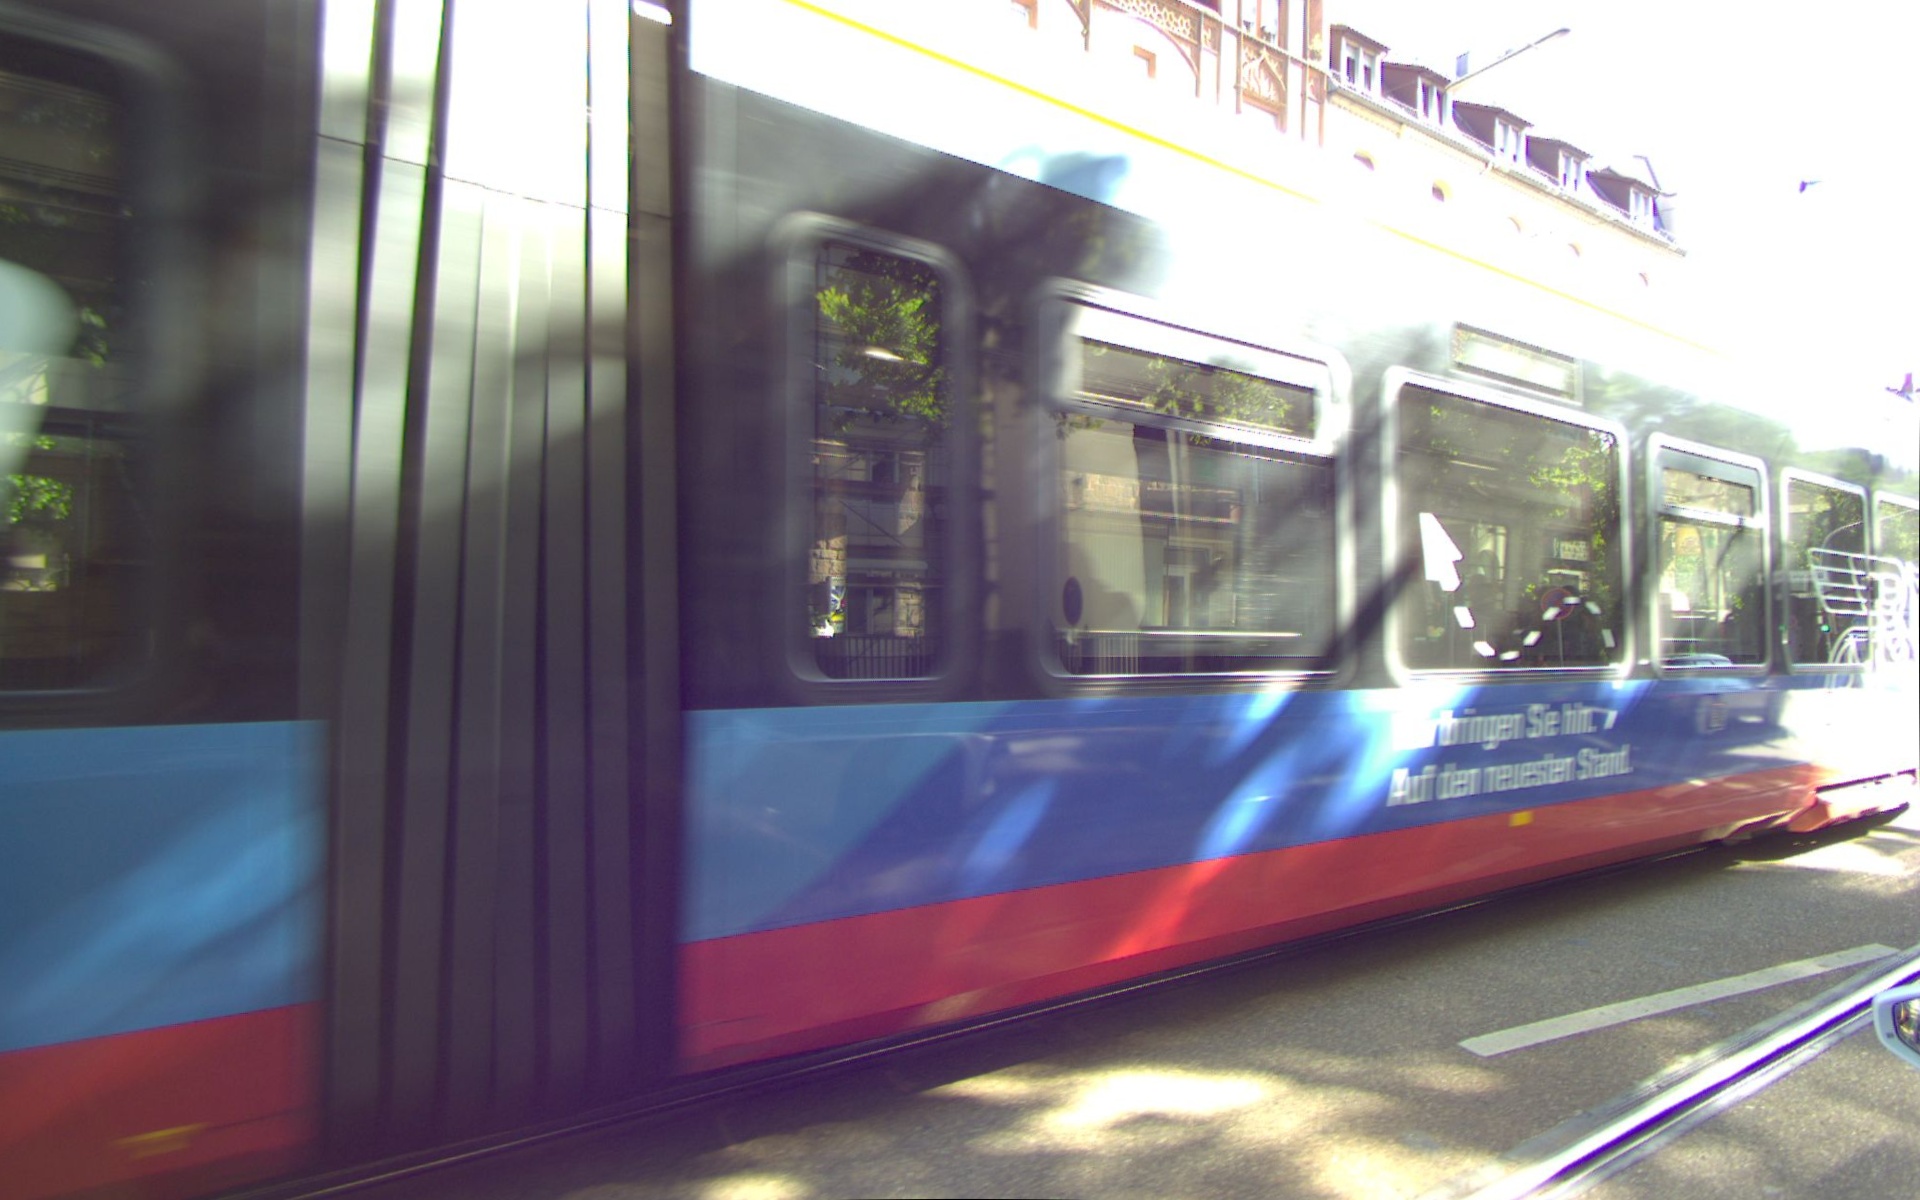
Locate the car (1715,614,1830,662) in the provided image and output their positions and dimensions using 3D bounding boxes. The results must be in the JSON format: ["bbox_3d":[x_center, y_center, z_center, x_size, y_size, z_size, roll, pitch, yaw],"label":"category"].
[{"bbox_3d":[37.413,1.716,46.384,1.961,2.040,3.999,2,0,-2],"label":"car"}]

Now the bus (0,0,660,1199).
[{"bbox_3d":[-6.080,-0.722,0.432,11.065,3.827,2.842,2,0,-33],"label":"bus"}]

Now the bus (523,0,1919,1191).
[{"bbox_3d":[3.765,-0.305,6.934,12.069,3.827,2.833,2,0,-33],"label":"bus"}]

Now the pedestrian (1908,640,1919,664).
[{"bbox_3d":[49.965,2.717,52.452,0.570,1.217,0.605,-1,-2,37],"label":"pedestrian"}]
